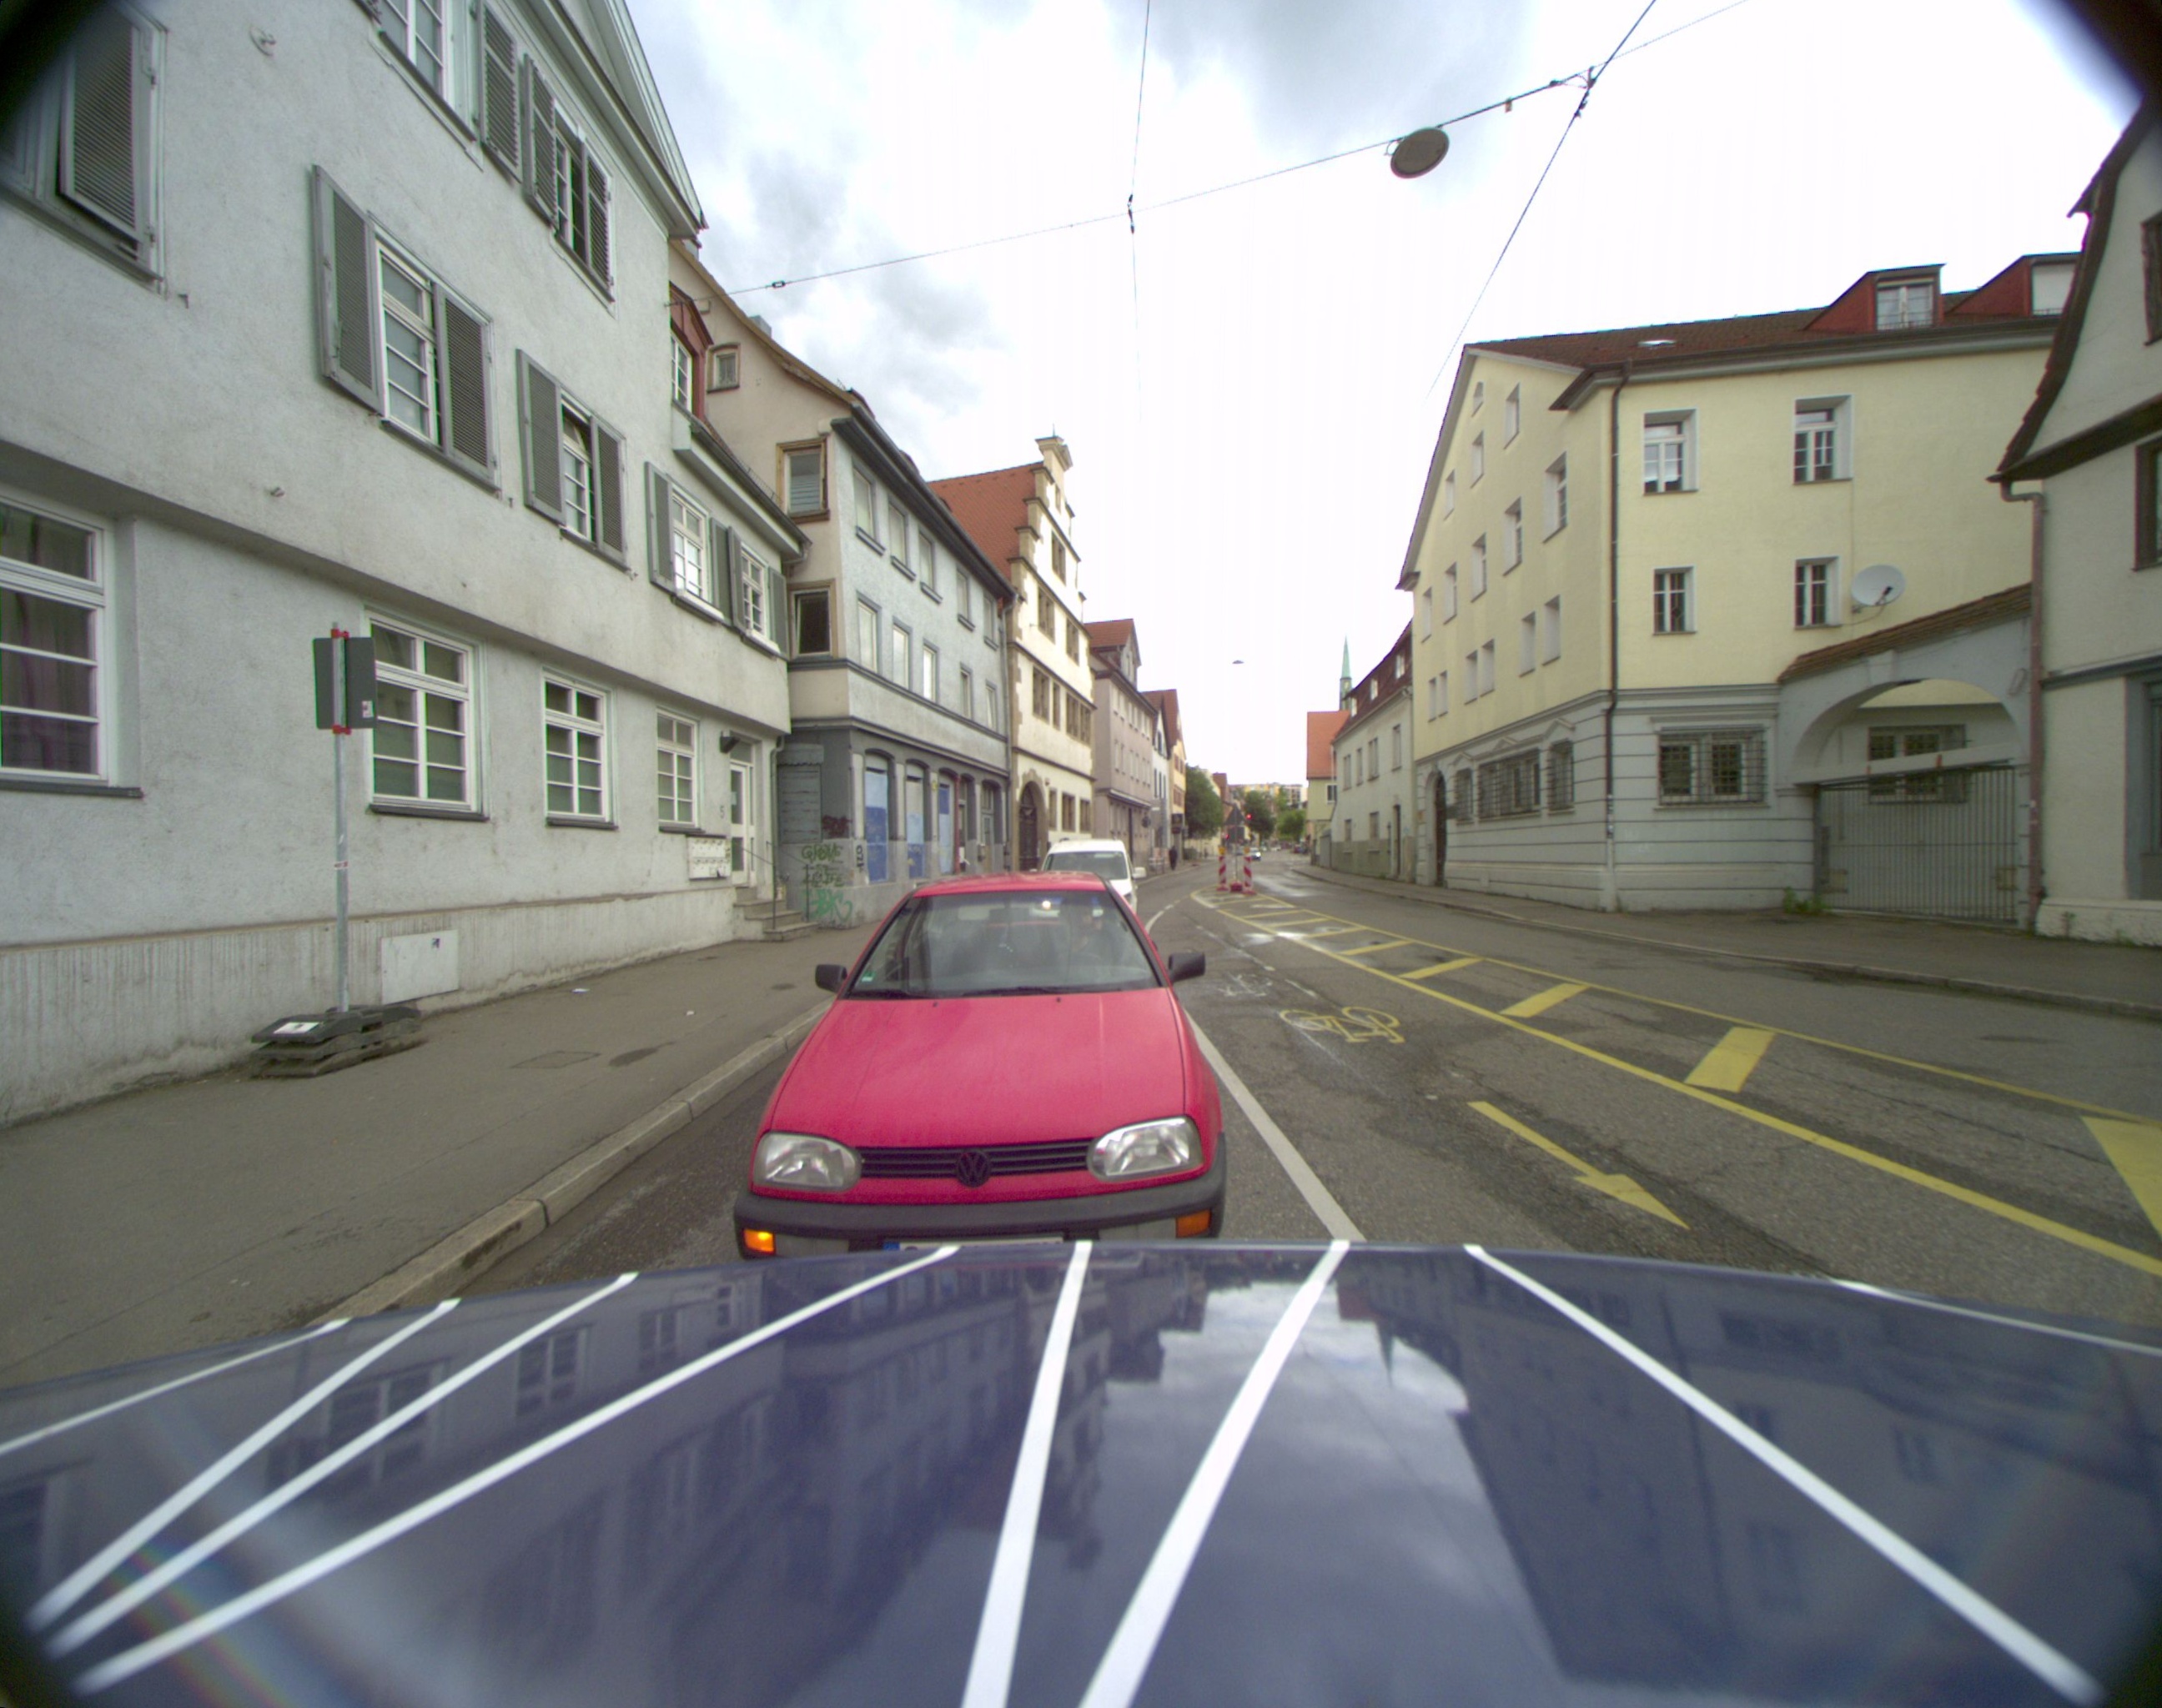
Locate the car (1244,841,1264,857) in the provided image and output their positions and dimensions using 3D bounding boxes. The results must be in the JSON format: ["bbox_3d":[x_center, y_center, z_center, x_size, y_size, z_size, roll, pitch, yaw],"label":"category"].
[{"bbox_3d":[19.373,-0.623,85.057,1.996,1.669,4.004,-1,1,15],"label":"car"}]

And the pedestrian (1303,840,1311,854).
[{"bbox_3d":[34.212,-1.040,114.933,0.784,2.109,0.757,0,0,-33],"label":"pedestrian"}]

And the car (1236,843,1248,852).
[{"bbox_3d":[28.324,-1.116,133.619,2.031,1.546,4.004,0,1,14],"label":"car"}]

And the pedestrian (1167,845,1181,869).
[{"bbox_3d":[6.381,0.219,52.024,0.833,1.646,0.945,-1,0,15],"label":"pedestrian"}]

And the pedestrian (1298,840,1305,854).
[{"bbox_3d":[33.586,-1.071,115.661,0.784,2.109,0.757,-1,0,-31],"label":"pedestrian"}]

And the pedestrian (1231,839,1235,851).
[{"bbox_3d":[27.538,-1.617,137.761,0.660,2.103,0.646,-1,1,15],"label":"pedestrian"}]

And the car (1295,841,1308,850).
[{"bbox_3d":[42.658,-1.660,146.797,2.210,1.668,4.502,0,1,14],"label":"car"}]

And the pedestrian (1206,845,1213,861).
[{"bbox_3d":[17.751,-0.144,105.099,0.901,2.297,0.821,-1,0,13],"label":"pedestrian"}]

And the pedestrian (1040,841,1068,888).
[{"bbox_3d":[-0.974,0.376,27.293,0.756,1.658,0.810,2,1,15],"label":"pedestrian"}]

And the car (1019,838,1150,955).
[{"bbox_3d":[0.176,0.614,13.912,1.998,1.777,4.467,0,2,3],"label":"car"}]

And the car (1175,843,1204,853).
[{"bbox_3d":[16.301,-0.880,113.626,3.992,1.455,2.002,-1,1,17],"label":"car"}]

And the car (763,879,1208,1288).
[{"bbox_3d":[-0.336,0.955,4.943,1.685,1.418,4.021,-1,0,1],"label":"car"}]

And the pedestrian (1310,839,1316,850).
[{"bbox_3d":[41.354,-1.689,135.400,0.835,2.002,0.846,-1,1,13],"label":"pedestrian"}]
